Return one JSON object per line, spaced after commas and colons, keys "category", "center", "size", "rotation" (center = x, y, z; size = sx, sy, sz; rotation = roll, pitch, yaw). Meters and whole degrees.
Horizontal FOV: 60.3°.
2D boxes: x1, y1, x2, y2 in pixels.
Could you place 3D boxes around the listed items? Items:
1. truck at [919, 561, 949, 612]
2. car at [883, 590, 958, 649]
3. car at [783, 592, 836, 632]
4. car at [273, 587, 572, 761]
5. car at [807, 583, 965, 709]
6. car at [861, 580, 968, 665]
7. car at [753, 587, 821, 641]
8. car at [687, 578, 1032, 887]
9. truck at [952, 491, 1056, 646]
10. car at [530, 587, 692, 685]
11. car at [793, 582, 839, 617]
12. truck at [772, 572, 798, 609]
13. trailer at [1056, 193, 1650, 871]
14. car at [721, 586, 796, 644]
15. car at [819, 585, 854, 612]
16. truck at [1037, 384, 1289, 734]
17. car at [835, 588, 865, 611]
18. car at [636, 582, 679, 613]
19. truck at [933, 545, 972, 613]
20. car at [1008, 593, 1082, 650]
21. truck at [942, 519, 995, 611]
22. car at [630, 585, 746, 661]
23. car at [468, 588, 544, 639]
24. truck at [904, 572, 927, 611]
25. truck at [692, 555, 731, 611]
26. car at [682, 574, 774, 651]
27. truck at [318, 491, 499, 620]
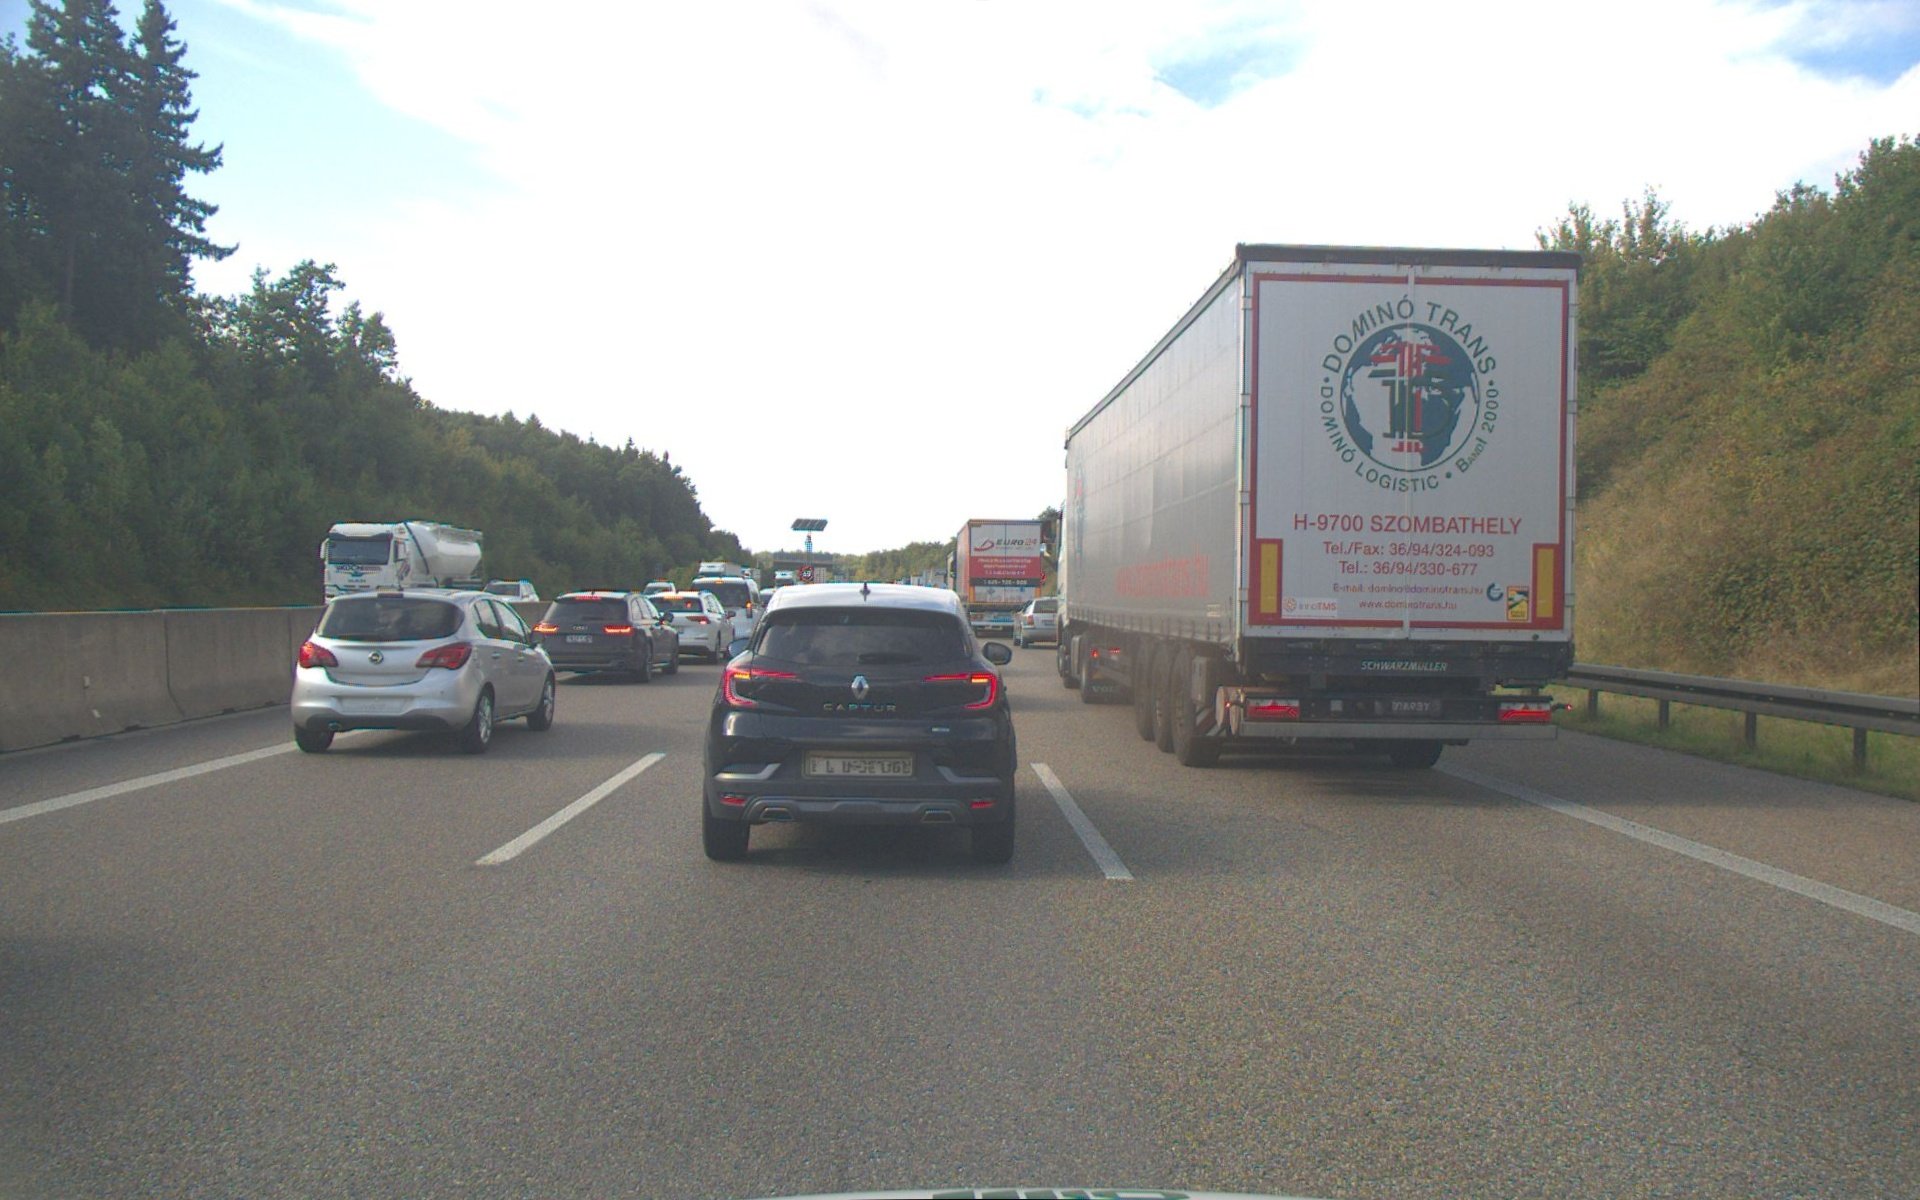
{"category": "truck", "center": [-2.815, -1.383, 178.911], "size": [3.102, 5.249, 12.734], "rotation": [1, 0, -1]}
{"category": "car", "center": [-1.077, 0.520, 45.716], "size": [1.953, 1.540, 3.999], "rotation": [1, 0, -1]}
{"category": "car", "center": [-6.429, 0.515, 71.002], "size": [1.953, 1.641, 3.999], "rotation": [1, 0, -1]}
{"category": "car", "center": [-5.094, 0.619, 16.246], "size": [1.711, 1.491, 4.039], "rotation": [0, 0, -2]}
{"category": "car", "center": [-0.960, 0.583, 22.670], "size": [1.953, 1.540, 3.999], "rotation": [1, 0, -1]}
{"category": "car", "center": [-0.888, 0.419, 32.620], "size": [1.953, 1.540, 3.999], "rotation": [1, 0, -1]}
{"category": "car", "center": [-5.872, 0.460, 56.543], "size": [1.953, 1.752, 3.999], "rotation": [1, 0, -1]}
{"category": "car", "center": [-0.496, 0.681, 10.541], "size": [1.767, 1.579, 4.000], "rotation": [1, 0, 1]}
{"category": "truck", "center": [1.440, -1.038, 61.788], "size": [3.296, 5.132, 12.734], "rotation": [1, 0, -1]}
{"category": "car", "center": [-5.768, 0.543, 27.911], "size": [1.805, 1.481, 4.746], "rotation": [1, 0, -1]}
{"category": "car", "center": [-7.057, -0.050, 81.554], "size": [1.953, 1.641, 3.999], "rotation": [1, 0, -1]}
{"category": "truck", "center": [-25.035, -1.378, 237.105], "size": [3.026, 5.190, 7.138], "rotation": [1, 0, -2]}
{"category": "trailer", "center": [3.176, -0.509, 18.333], "size": [2.941, 4.742, 13.285], "rotation": [1, 0, -2]}
{"category": "car", "center": [-6.072, 0.448, 50.211], "size": [1.818, 1.669, 3.925], "rotation": [1, 0, -1]}
{"category": "car", "center": [-7.902, -0.090, 106.188], "size": [1.953, 1.641, 3.999], "rotation": [1, 0, -1]}
{"category": "truck", "center": [2.927, -0.570, 25.598], "size": [2.937, 4.749, 5.937], "rotation": [1, 0, -2]}
{"category": "car", "center": [-7.877, -0.035, 118.925], "size": [1.953, 1.641, 3.999], "rotation": [1, 0, -1]}
{"category": "car", "center": [-17.725, -0.152, 97.122], "size": [1.815, 1.742, 4.322], "rotation": [1, 0, -2]}
{"category": "truck", "center": [-0.588, -1.748, 144.208], "size": [3.101, 5.601, 12.737], "rotation": [1, 0, 1]}
{"category": "car", "center": [2.429, 0.598, 48.087], "size": [1.768, 1.559, 3.923], "rotation": [1, 0, -3]}
{"category": "truck", "center": [0.442, -2.143, 107.997], "size": [3.102, 5.601, 12.734], "rotation": [1, 0, -1]}
{"category": "car", "center": [-5.718, 0.468, 35.187], "size": [1.768, 1.486, 4.308], "rotation": [1, 0, -1]}
{"category": "car", "center": [-17.358, 0.489, 63.460], "size": [1.815, 1.841, 4.322], "rotation": [1, 0, -2]}
{"category": "truck", "center": [-6.495, -1.161, 243.505], "size": [3.102, 5.601, 12.734], "rotation": [1, 0, -1]}
{"category": "truck", "center": [-24.732, -1.649, 164.855], "size": [2.978, 5.344, 6.880], "rotation": [1, 0, -2]}
{"category": "car", "center": [-5.836, 0.316, 42.077], "size": [1.873, 1.821, 4.415], "rotation": [1, 0, -3]}
{"category": "truck", "center": [-21.242, -1.530, 64.831], "size": [2.873, 4.430, 13.904], "rotation": [1, 0, -2]}
